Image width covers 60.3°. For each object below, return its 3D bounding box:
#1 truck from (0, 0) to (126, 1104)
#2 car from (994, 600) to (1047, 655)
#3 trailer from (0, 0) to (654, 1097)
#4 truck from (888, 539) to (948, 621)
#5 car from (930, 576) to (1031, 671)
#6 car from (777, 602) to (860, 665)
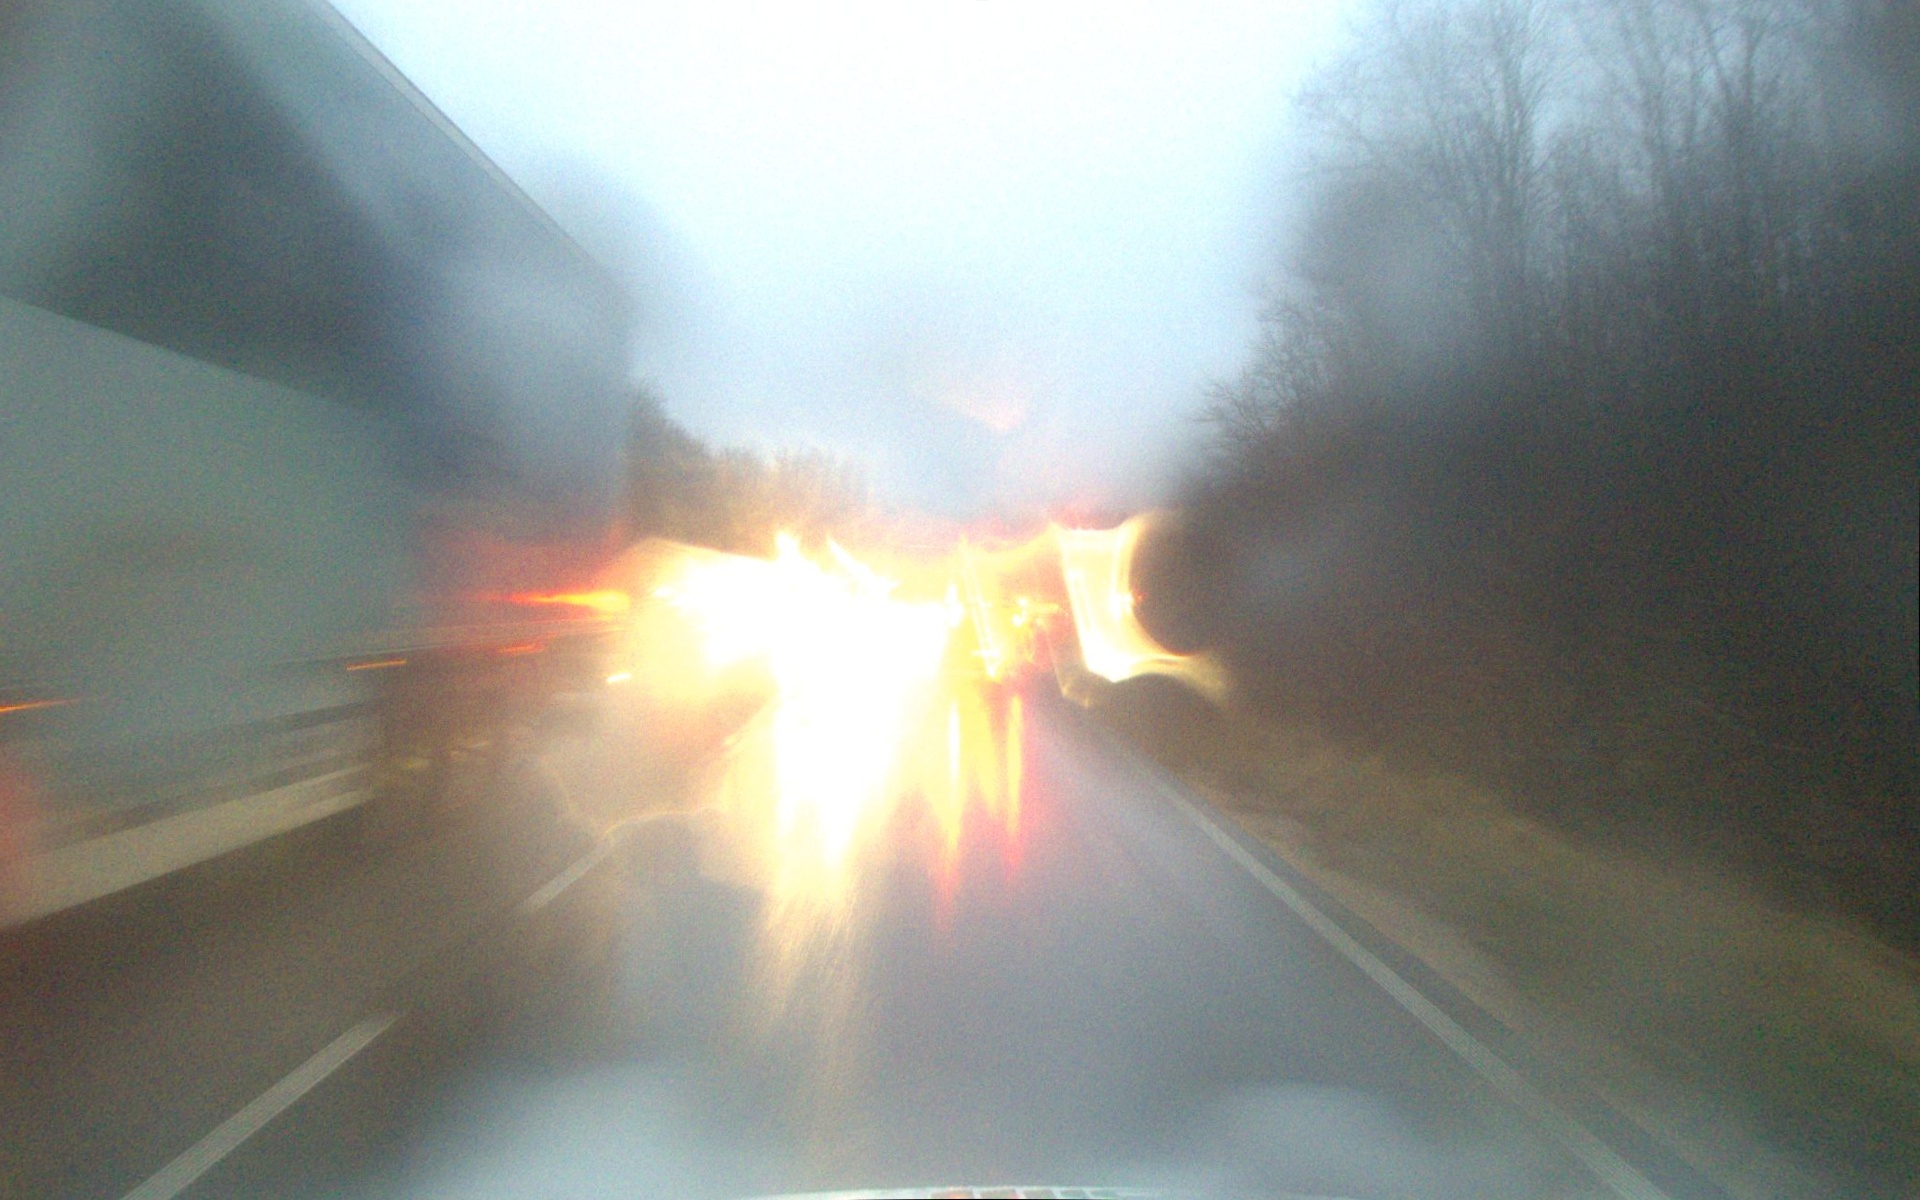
[{"bbox_3d":[-4.023,-0.673,1.614,2.742,4.198,7.199,-1,0,0],"label":"truck"},{"bbox_3d":[2.412,1.057,64.943,1.952,2.049,4.002,-1,0,3],"label":"car"},{"bbox_3d":[-4.048,-0.732,7.973,2.722,4.161,13.515,-1,0,-1],"label":"trailer"},{"bbox_3d":[-2.014,-0.950,80.779,2.764,3.781,8.532,-1,0,-1],"label":"truck"},{"bbox_3d":[0.321,0.403,31.355,1.693,1.672,3.998,-1,0,-2],"label":"car"},{"bbox_3d":[-3.709,0.849,44.083,1.709,1.499,4.484,2,0,1],"label":"car"}]
